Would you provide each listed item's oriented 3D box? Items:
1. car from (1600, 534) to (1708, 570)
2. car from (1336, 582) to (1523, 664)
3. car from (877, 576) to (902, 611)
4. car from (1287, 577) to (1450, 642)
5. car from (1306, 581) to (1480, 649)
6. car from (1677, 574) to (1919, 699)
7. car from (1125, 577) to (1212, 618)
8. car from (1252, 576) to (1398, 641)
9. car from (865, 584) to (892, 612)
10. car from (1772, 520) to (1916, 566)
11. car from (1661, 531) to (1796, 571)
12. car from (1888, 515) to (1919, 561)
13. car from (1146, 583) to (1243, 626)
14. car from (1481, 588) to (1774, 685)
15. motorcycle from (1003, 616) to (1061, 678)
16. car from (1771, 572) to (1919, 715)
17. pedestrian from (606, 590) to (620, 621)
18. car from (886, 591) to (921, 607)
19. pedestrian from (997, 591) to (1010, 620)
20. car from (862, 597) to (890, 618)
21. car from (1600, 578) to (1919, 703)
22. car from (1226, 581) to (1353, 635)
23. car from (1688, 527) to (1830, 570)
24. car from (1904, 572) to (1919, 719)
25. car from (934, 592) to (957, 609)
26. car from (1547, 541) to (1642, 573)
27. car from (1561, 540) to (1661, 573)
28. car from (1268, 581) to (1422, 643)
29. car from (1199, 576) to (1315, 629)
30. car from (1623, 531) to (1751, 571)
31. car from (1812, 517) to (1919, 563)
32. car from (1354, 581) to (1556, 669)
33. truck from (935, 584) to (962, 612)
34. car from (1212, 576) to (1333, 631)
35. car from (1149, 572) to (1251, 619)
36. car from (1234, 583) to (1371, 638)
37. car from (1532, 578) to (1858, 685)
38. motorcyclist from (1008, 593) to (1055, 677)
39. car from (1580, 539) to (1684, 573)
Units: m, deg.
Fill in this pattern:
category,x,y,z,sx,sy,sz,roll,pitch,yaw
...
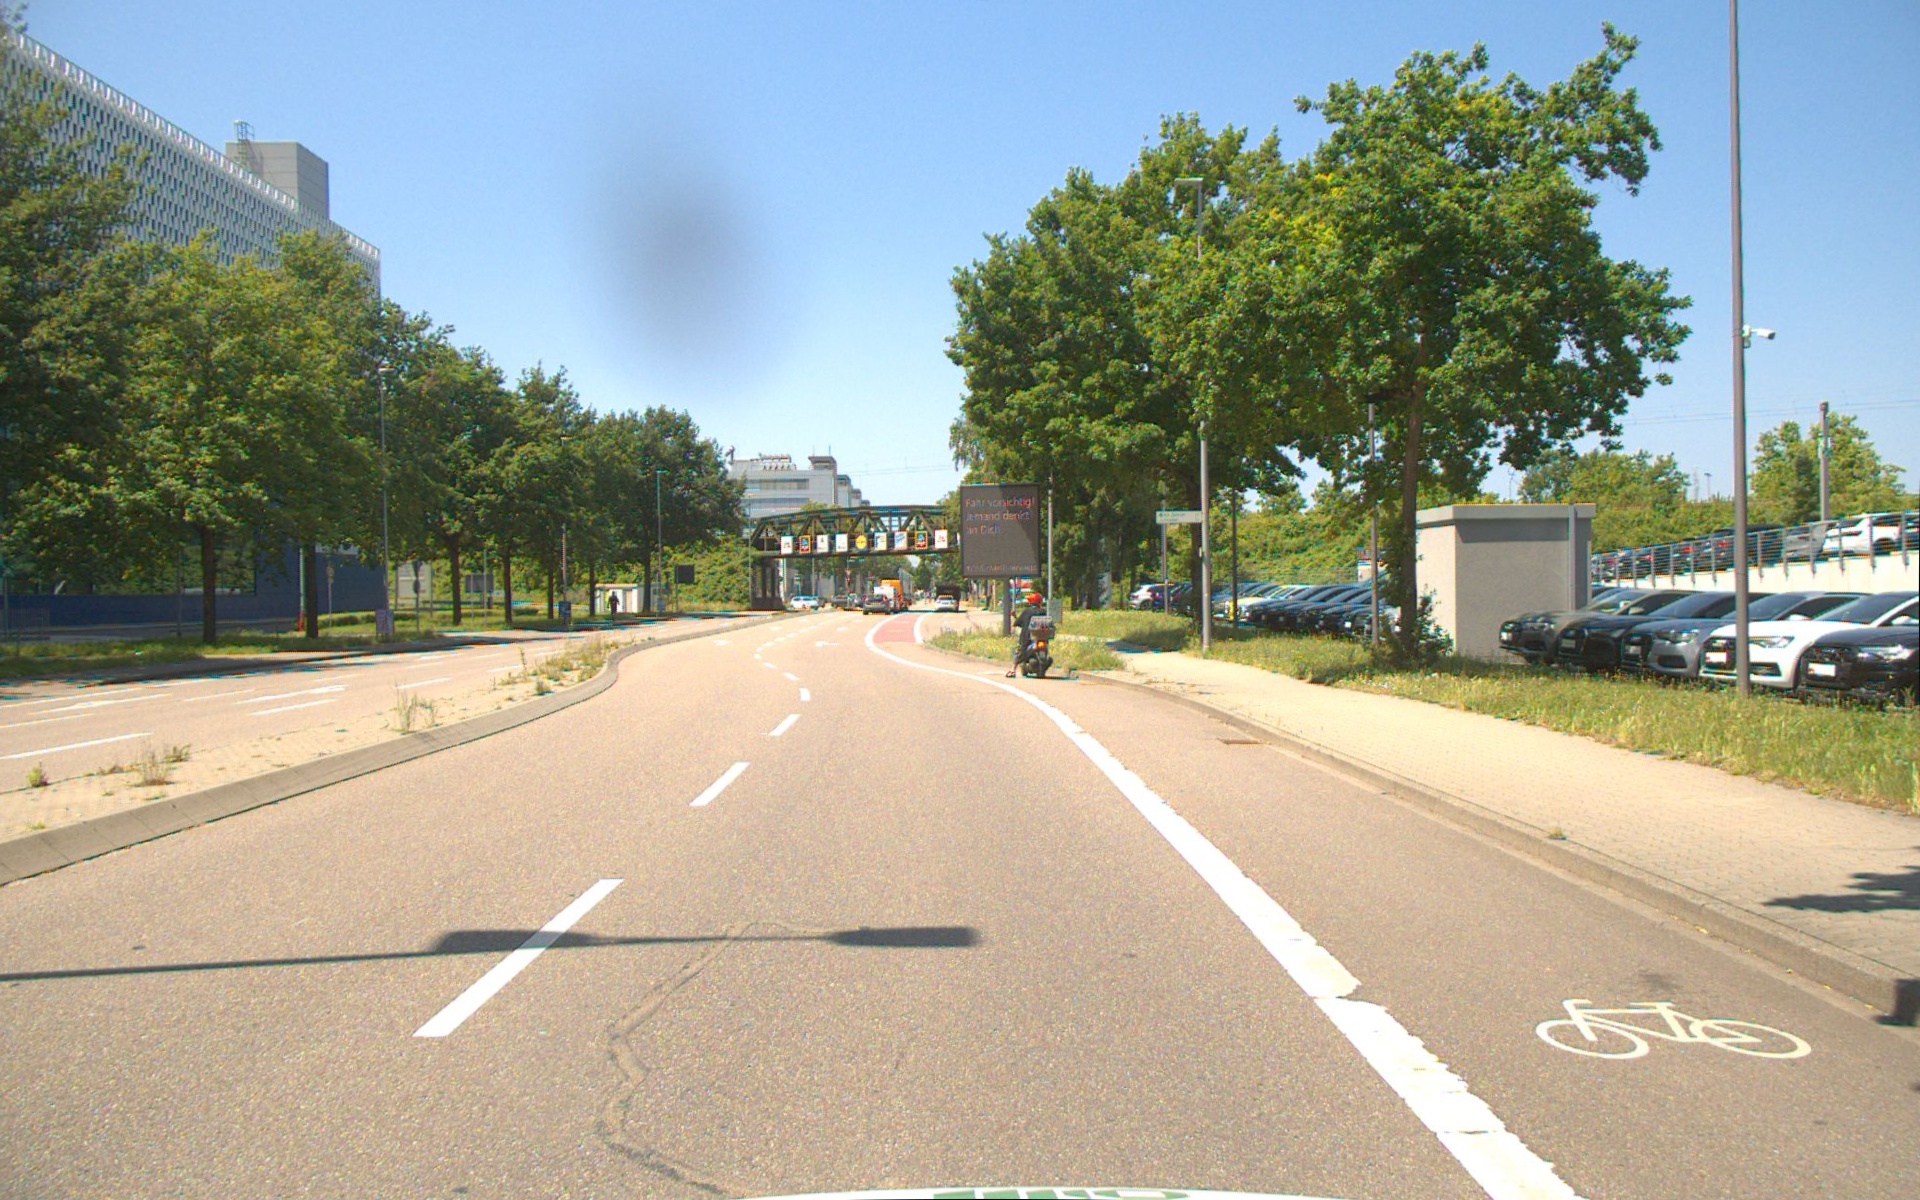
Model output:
category,x,y,z,sx,sy,sz,roll,pitch,yaw
car,26.370,-1.816,62.899,3.453,1.261,1.609,-1,0,-3
car,11.218,0.541,39.627,3.841,1.609,1.795,4,0,-5
car,-6.013,-0.540,141.711,2.031,2.904,6.763,-1,0,-2
car,11.203,0.259,45.468,3.910,1.464,1.795,4,0,-5
car,11.129,0.375,42.678,3.910,1.401,1.795,4,0,-5
car,11.348,0.484,20.414,4.136,1.365,1.917,3,0,-1
car,10.030,-0.132,79.620,3.787,1.632,1.795,4,0,-5
car,11.131,0.249,50.583,3.910,1.652,1.795,4,0,-5
car,-6.088,-0.144,124.361,1.953,2.049,3.999,1,0,-2
car,26.566,-1.694,49.754,3.455,1.261,1.675,1,0,-5
car,26.662,-1.691,57.443,3.909,1.334,1.795,-1,0,-5
car,26.955,-1.621,44.008,3.652,1.150,1.682,1,0,-5
car,10.128,0.190,71.578,3.786,1.632,1.795,3,0,-5
car,11.225,0.587,28.013,4.136,1.365,1.917,3,0,-1
motorcycle,1.354,0.877,31.317,0.703,1.124,1.825,1,0,-11
car,11.277,0.578,17.763,4.136,1.409,1.917,5,0,-1
pedestrian,-21.439,0.332,102.082,0.728,1.917,0.577,-1,0,-1
car,-6.678,-0.085,194.662,3.903,1.780,1.893,-1,0,4
pedestrian,2.159,0.278,81.595,0.611,1.398,0.564,-1,0,-3
car,-5.860,0.486,115.847,1.862,1.400,4.230,-1,0,-2
car,11.367,0.548,23.000,4.136,1.477,1.917,3,0,-1
car,11.129,0.271,56.049,3.787,1.528,1.795,4,0,-5
car,26.442,-1.695,54.797,3.909,1.334,1.795,-1,0,-5
car,11.193,0.595,15.121,4.047,1.404,1.778,4,0,-1
car,-1.253,0.021,140.032,1.885,1.445,3.999,0,0,-2
car,27.063,-1.829,70.570,3.452,1.261,1.541,1,0,-2
car,26.509,-1.758,67.360,3.453,1.261,1.541,1,0,-3
car,11.118,0.332,47.924,3.910,1.464,1.795,4,0,-5
car,10.915,0.096,61.009,3.787,1.632,1.795,4,0,-5
car,26.480,-1.775,60.295,3.909,1.334,1.795,-1,0,-5
car,26.566,-1.690,47.060,3.862,1.232,1.715,0,0,-5
car,11.160,0.552,37.438,3.910,1.646,1.795,4,0,-5
truck,-1.094,-0.245,151.497,2.408,2.452,7.132,1,0,-1
car,11.043,0.112,58.555,3.787,1.632,1.795,4,0,-5
car,9.948,-0.185,68.708,3.787,1.632,1.795,4,0,-5
car,11.017,0.320,53.373,3.910,1.447,1.795,4,0,-5
car,11.229,0.462,25.477,4.136,1.365,1.917,3,0,-1
motorcyclist,1.355,0.650,31.349,0.706,1.556,0.868,1,0,-11
car,26.550,-1.727,65.373,3.453,1.261,1.609,1,0,-3
